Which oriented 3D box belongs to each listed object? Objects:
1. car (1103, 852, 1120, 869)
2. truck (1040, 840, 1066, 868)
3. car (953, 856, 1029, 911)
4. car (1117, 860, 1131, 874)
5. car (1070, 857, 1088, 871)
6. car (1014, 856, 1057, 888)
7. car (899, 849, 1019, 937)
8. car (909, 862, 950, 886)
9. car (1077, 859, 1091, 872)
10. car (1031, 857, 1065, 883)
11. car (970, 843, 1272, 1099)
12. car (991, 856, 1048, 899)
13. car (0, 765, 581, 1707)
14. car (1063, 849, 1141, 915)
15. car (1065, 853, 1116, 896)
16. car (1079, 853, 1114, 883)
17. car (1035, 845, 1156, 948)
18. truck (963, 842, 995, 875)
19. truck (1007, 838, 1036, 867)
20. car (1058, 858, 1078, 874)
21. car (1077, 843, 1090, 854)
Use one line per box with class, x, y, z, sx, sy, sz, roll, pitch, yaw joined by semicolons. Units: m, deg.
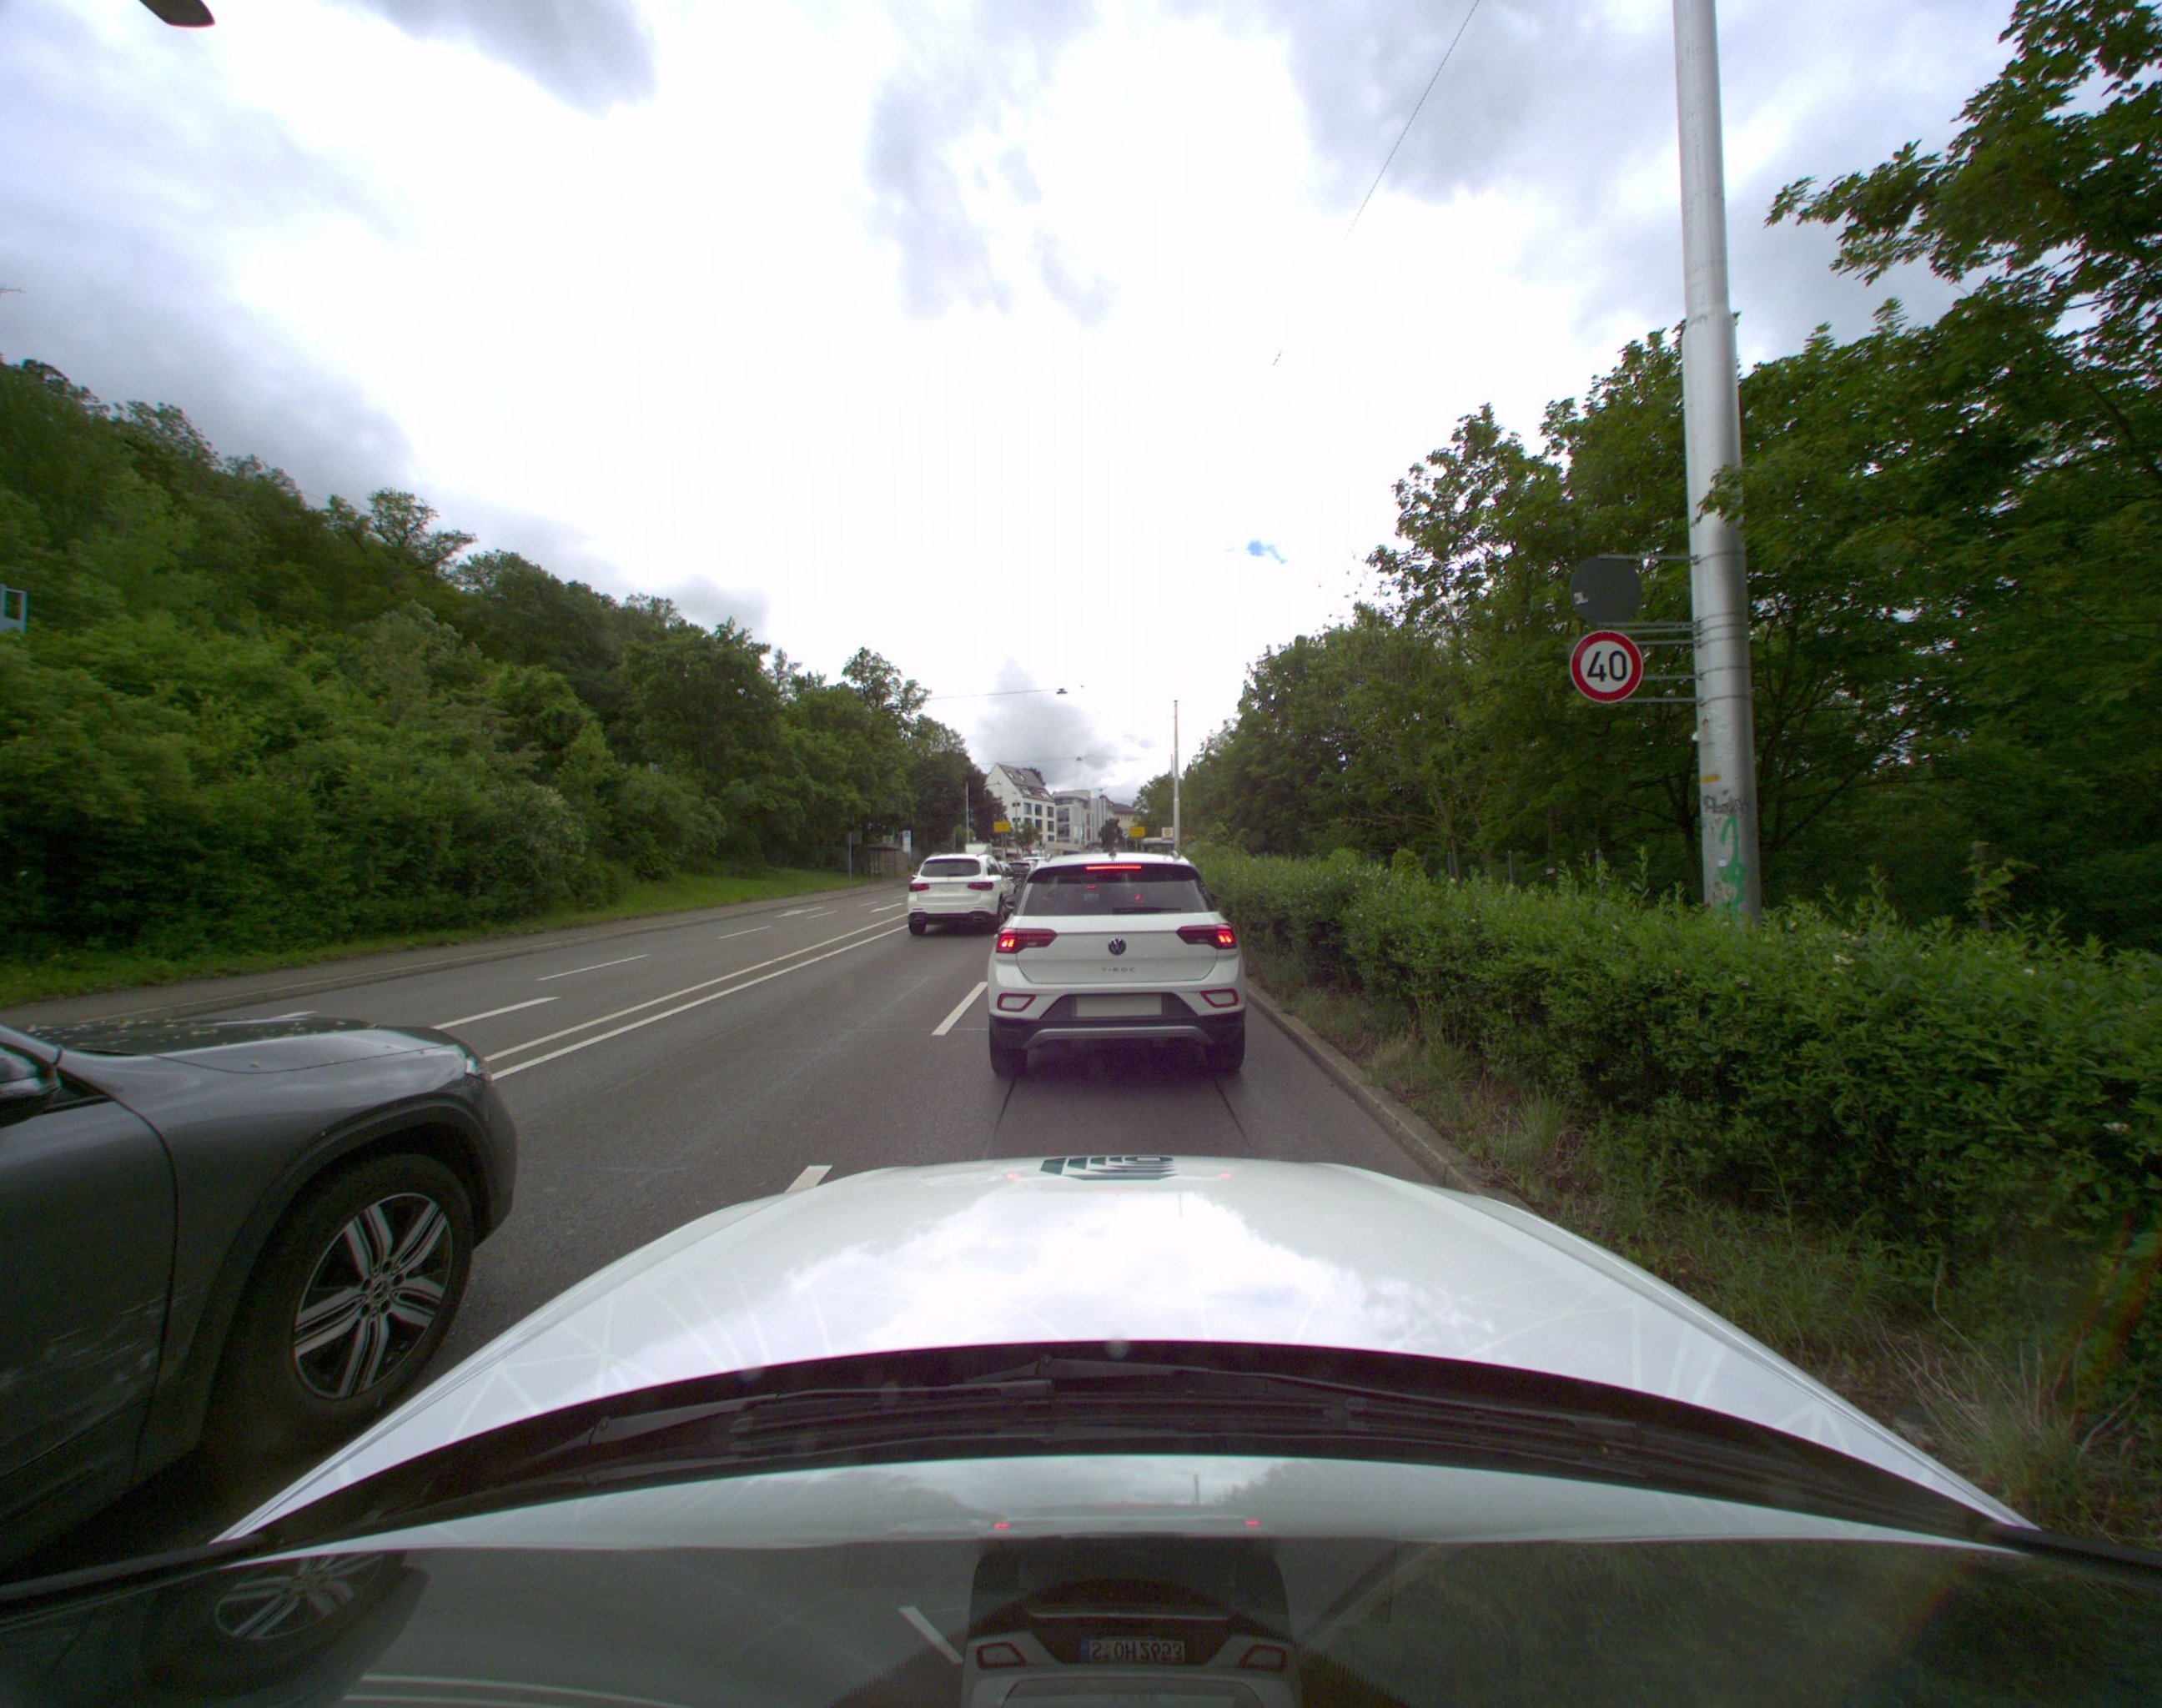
car;3.704;0.750;100.591;1.986;2.013;4.001;-2;0;2
truck;-2.955;-0.014;85.665;2.354;2.782;4.478;-3;0;1
car;-2.708;0.859;25.398;1.823;1.497;4.001;-2;0;1
car;6.482;1.964;122.489;1.986;2.014;4.002;-3;-2;2
car;-0.192;1.113;91.799;1.823;1.526;4.001;-2;0;1
car;-2.286;0.877;41.809;1.823;1.526;4.001;-2;0;1
car;-2.511;0.754;17.676;1.911;1.669;4.001;-1;0;1
car;-9.710;1.252;52.536;1.673;1.395;4.361;-3;0;1
car;0.452;1.563;109.403;1.809;1.656;3.929;-3;0;1
car;-2.044;0.961;51.455;1.823;1.526;4.001;-2;0;1
car;0.282;0.725;7.010;1.823;1.526;4.001;-2;0;1
car;-2.367;0.869;32.207;1.823;1.526;4.001;-2;0;1
car;-2.761;0.691;0.766;1.843;1.651;4.357;-1;0;0
car;0.544;0.688;21.694;1.823;1.526;4.001;-2;0;1
car;0.397;0.778;32.364;1.823;1.526;4.001;-2;0;1
car;0.855;0.740;44.762;1.823;1.526;4.001;-2;0;1
car;0.258;0.668;14.689;1.823;1.526;4.001;-2;0;1
truck;-10.201;0.465;81.796;2.286;3.051;6.977;-2;-1;0
truck;-5.910;-0.159;81.083;2.354;2.706;4.478;-3;0;1
car;-1.264;1.151;80.576;1.823;1.526;4.001;-2;0;1
car;0.352;-0.741;117.017;1.823;1.526;4.001;-2;0;1
